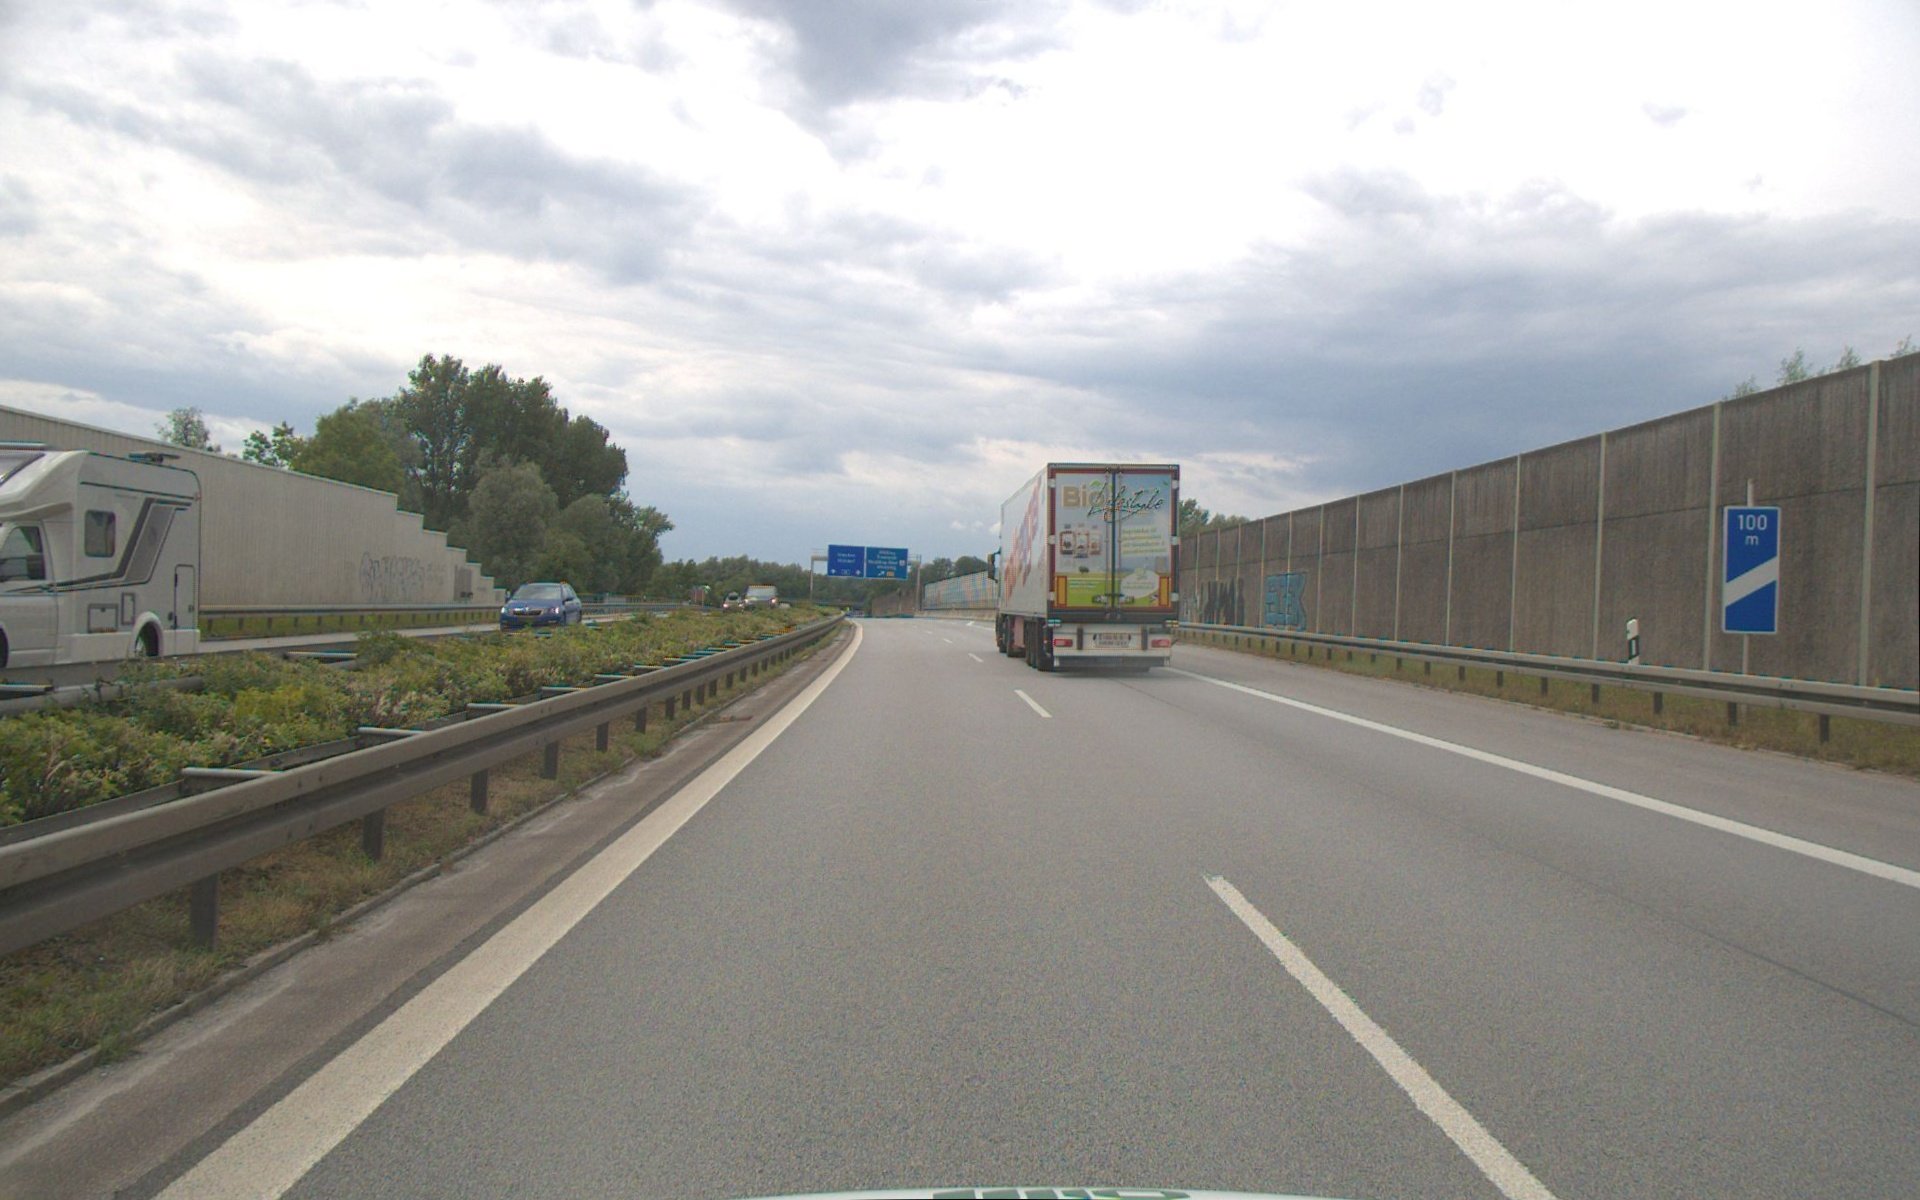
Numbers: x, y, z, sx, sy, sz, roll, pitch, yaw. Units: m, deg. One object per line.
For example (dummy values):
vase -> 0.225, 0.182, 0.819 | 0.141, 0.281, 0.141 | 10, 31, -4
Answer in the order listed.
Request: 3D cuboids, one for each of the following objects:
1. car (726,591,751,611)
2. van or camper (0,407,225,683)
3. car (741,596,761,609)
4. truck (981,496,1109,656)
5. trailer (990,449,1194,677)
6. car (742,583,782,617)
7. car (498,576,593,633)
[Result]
car -> -19.933, 0.099, 148.967 | 1.931, 1.792, 4.940 | 1, 0, -5
van or camper -> -11.004, -0.588, 19.503 | 2.209, 2.827, 5.753 | 1, 0, -2
car -> -22.684, 0.296, 179.554 | 1.931, 1.428, 4.705 | 0, 0, -5
truck -> 2.183, -0.605, 44.635 | 2.702, 4.029, 5.672 | 1, 0, -5
trailer -> 2.618, -0.700, 38.185 | 2.737, 4.248, 14.093 | 1, 0, -3
car -> -11.356, -0.016, 95.253 | 1.954, 1.919, 4.553 | 1, 0, -3
car -> -12.067, 0.109, 48.435 | 1.775, 1.574, 4.514 | 1, 0, -2
